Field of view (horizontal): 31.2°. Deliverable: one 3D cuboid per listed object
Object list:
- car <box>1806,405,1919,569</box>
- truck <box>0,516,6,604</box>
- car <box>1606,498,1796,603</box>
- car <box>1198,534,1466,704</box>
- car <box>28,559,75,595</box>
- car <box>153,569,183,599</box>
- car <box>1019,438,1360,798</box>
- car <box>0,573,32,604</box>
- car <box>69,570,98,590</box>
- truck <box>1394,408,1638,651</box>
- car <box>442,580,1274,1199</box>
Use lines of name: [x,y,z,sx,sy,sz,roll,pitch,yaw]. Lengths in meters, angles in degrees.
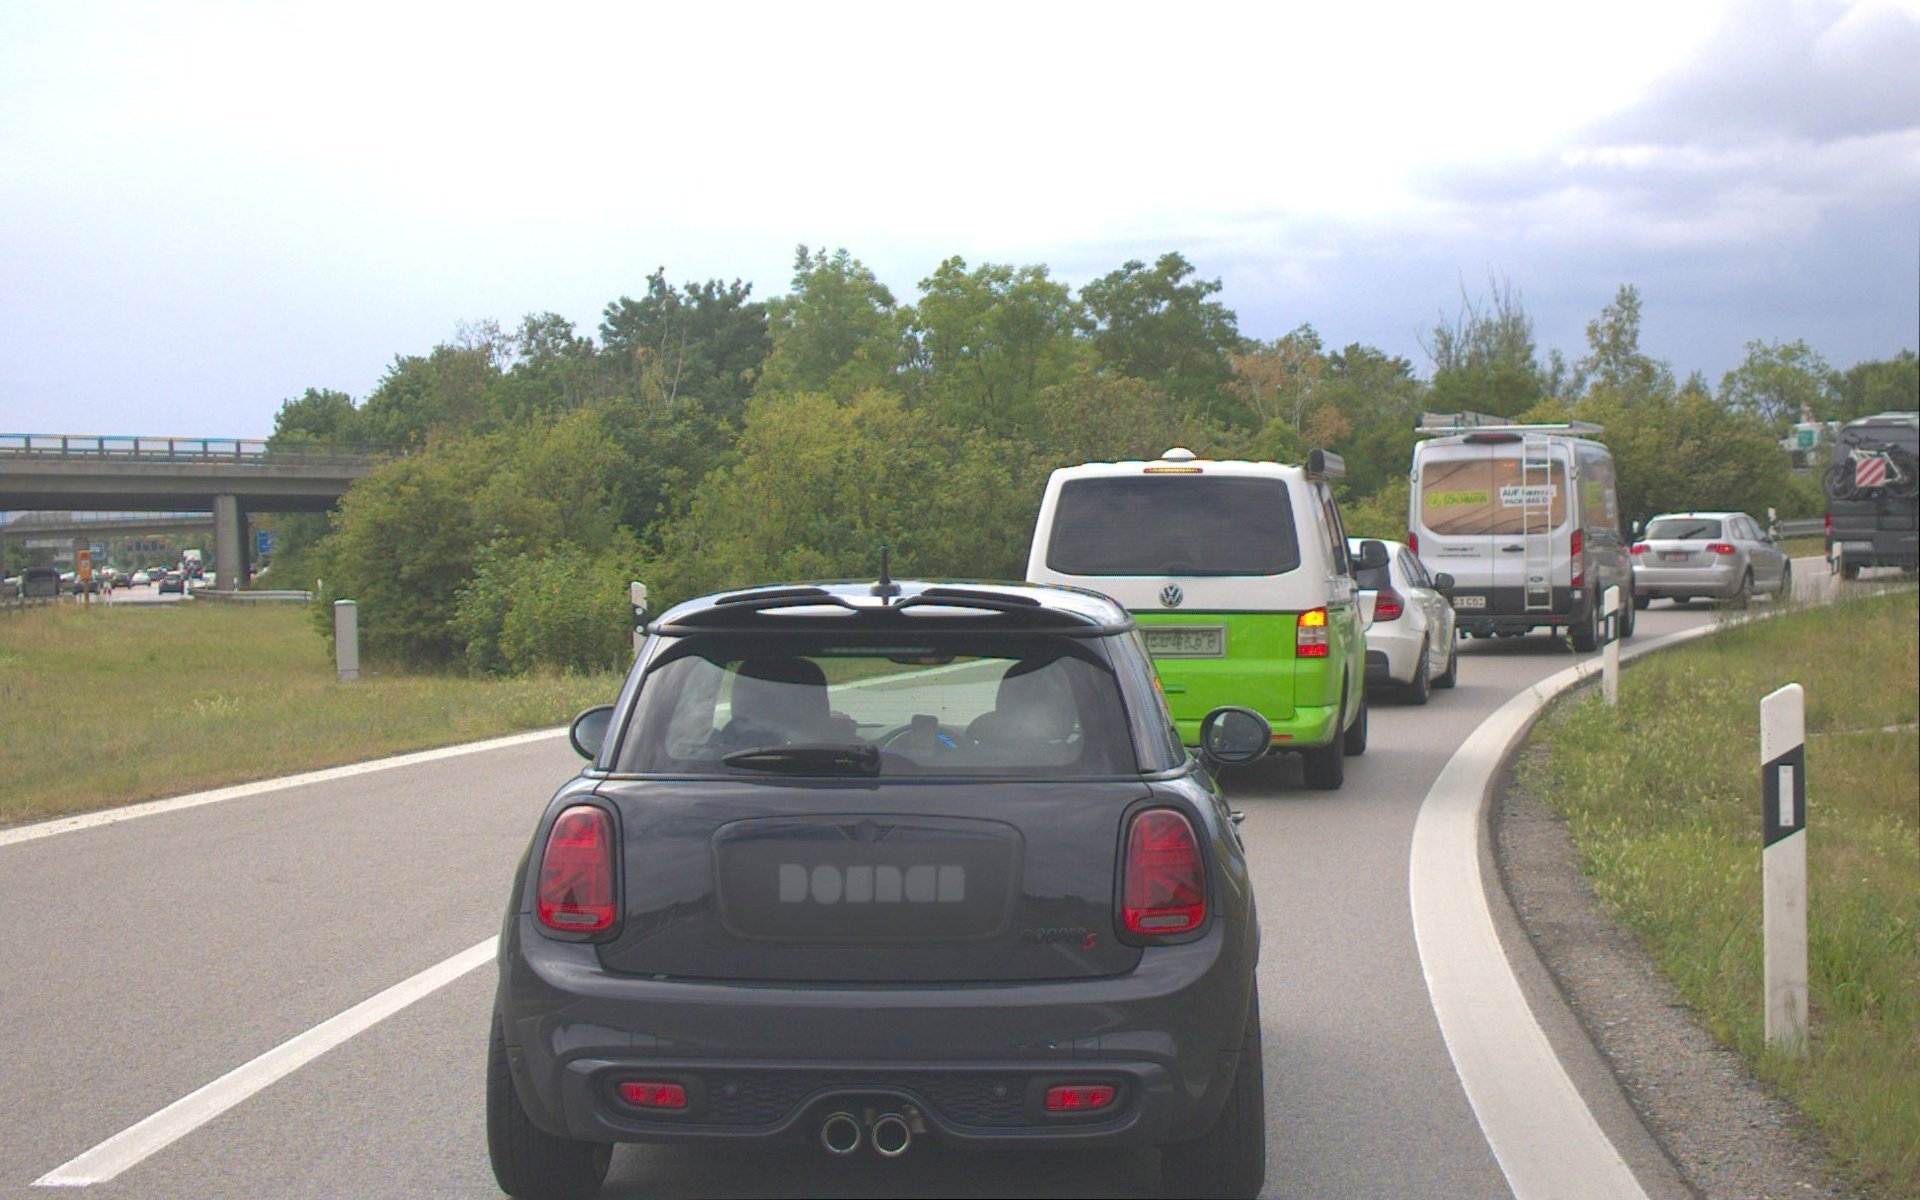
car: [16.514,-1.963,60.576,2.108,2.787,3.994,1,1,29]
truck: [-37.178,-1.483,128.084,2.467,3.359,7.926,-2,0,-11]
car: [11.122,-0.741,51.413,1.869,1.505,3.994,0,1,26]
car: [3.328,0.133,30.167,1.763,1.394,3.722,0,1,15]
car: [-45.127,-1.152,170.872,1.876,1.745,4.488,-1,1,-10]
car: [-54.581,-1.077,236.895,1.993,2.007,4.001,1,0,-13]
car: [1.512,0.070,21.296,1.785,2.007,3.999,0,1,8]
car: [-57.084,-0.685,206.807,1.993,1.779,5.413,-1,1,-11]
car: [-64.425,-1.471,252.772,1.721,1.419,4.799,-1,1,-11]
truck: [6.583,-0.837,40.252,2.180,2.649,5.105,0,1,16]
car: [-0.214,0.664,9.017,1.727,1.409,3.725,0,1,0]
